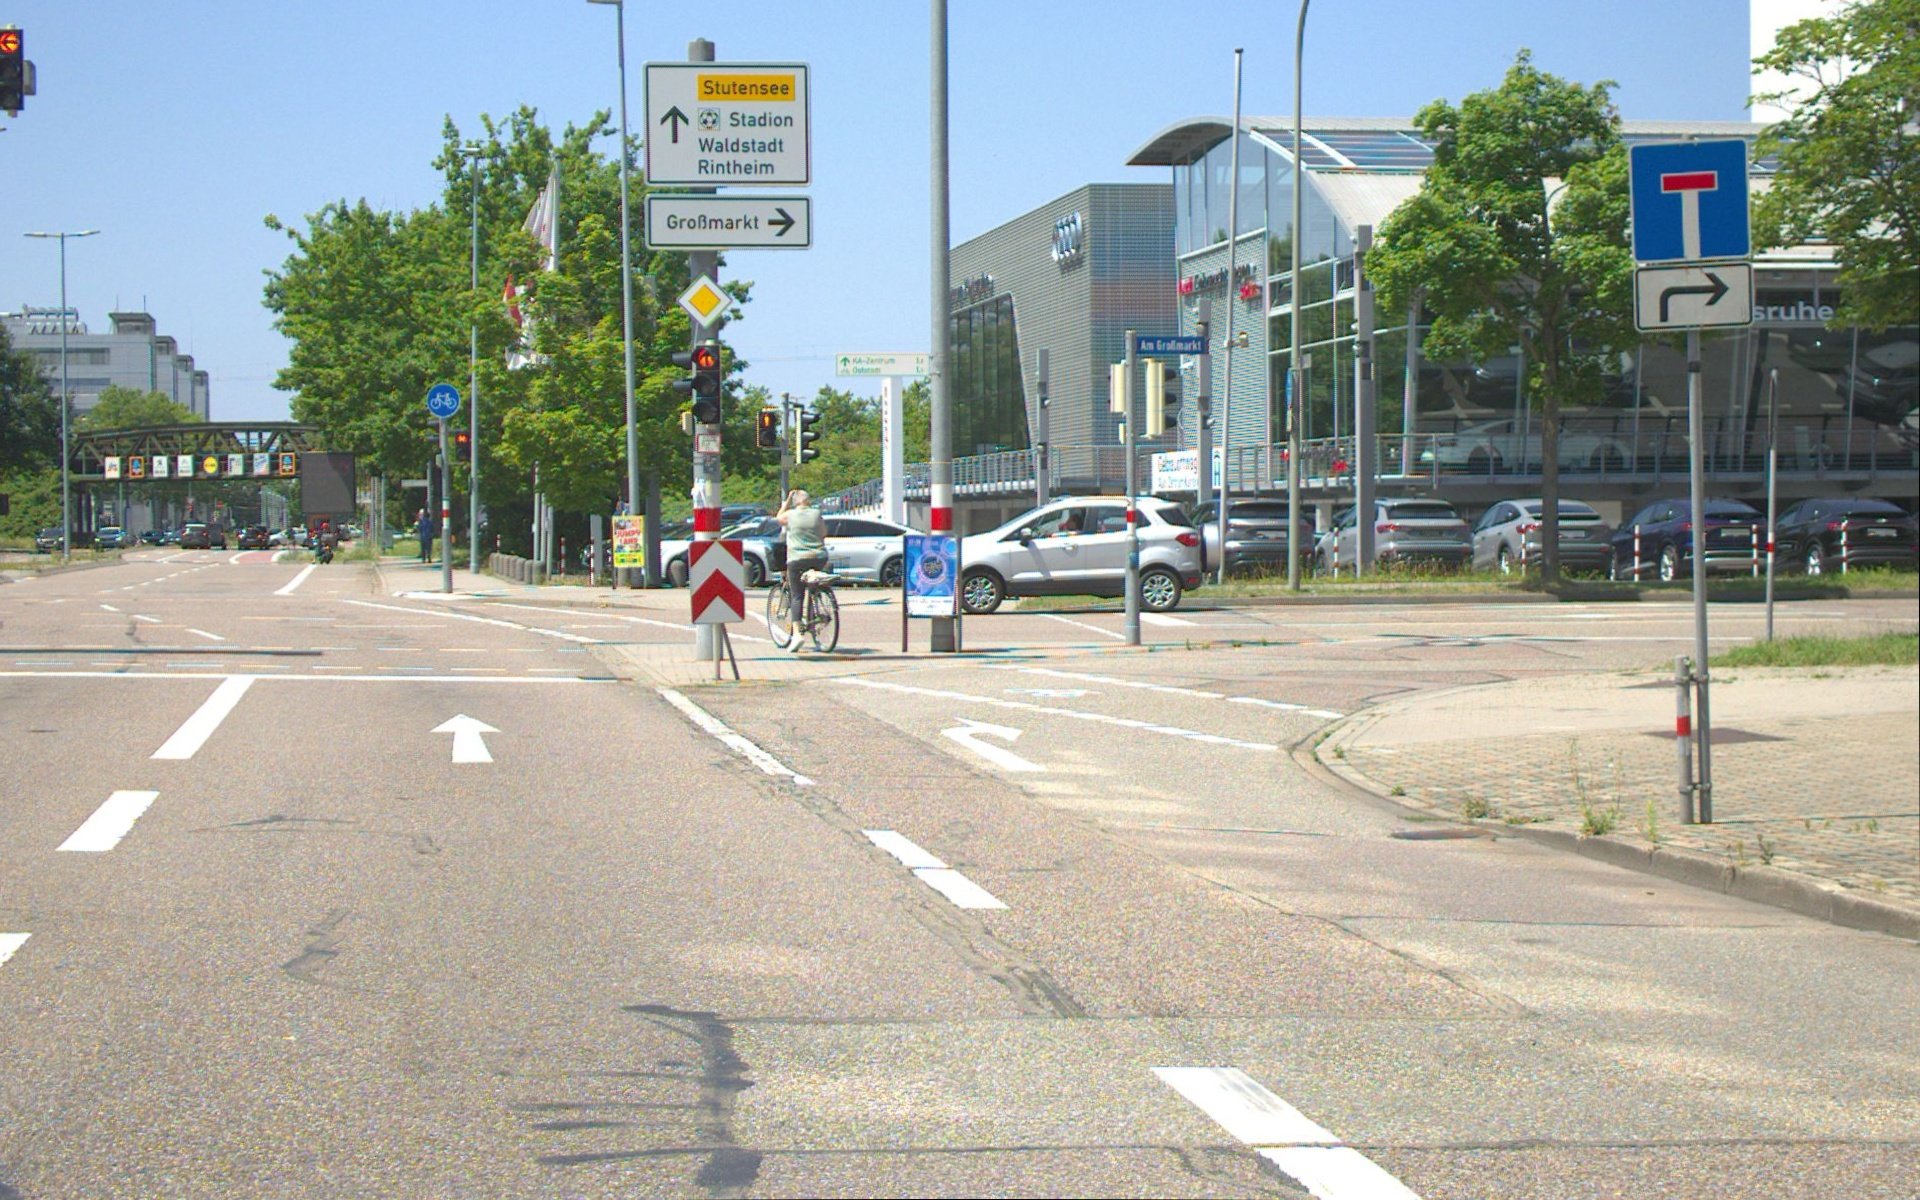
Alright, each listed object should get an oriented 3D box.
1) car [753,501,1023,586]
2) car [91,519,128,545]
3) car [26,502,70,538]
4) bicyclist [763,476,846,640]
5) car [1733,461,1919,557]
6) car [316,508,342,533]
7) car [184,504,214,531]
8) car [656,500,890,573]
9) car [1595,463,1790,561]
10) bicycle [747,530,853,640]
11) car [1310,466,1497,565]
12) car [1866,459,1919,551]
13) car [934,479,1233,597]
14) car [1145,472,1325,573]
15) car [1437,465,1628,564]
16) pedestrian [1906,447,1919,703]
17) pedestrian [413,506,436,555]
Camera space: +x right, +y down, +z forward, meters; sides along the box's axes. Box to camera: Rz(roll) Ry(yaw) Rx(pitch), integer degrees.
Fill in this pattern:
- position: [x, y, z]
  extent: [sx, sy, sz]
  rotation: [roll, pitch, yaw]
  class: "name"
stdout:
- position: [-1.341, -1.055, 62.961]
  extent: [4.740, 1.452, 2.001]
  rotation: [-1, 2, -8]
  class: "car"
- position: [-56.499, -4.533, 228.449]
  extent: [1.926, 1.659, 4.090]
  rotation: [-1, 1, -7]
  class: "car"
- position: [-54.453, -4.748, 205.331]
  extent: [1.993, 2.007, 4.001]
  rotation: [-1, 0, -6]
  class: "car"
- position: [-1.679, -0.455, 37.051]
  extent: [0.733, 1.743, 0.754]
  rotation: [0, 2, -14]
  class: "bicyclist"
- position: [15.622, -1.666, 61.584]
  extent: [1.827, 1.634, 4.476]
  rotation: [-1, 2, -11]
  class: "car"
- position: [-45.172, -5.696, 246.191]
  extent: [1.771, 1.722, 4.001]
  rotation: [-1, 1, -10]
  class: "car"
- position: [-50.649, -5.477, 228.848]
  extent: [1.771, 1.722, 4.001]
  rotation: [-1, 1, -10]
  class: "car"
- position: [-3.999, -1.361, 73.250]
  extent: [4.740, 1.452, 2.001]
  rotation: [-1, 2, -11]
  class: "car"
- position: [12.954, -1.595, 61.051]
  extent: [1.827, 1.634, 4.476]
  rotation: [-1, 2, -10]
  class: "car"
- position: [-1.747, -0.175, 37.254]
  extent: [0.786, 1.123, 1.921]
  rotation: [0, 2, -14]
  class: "bicycle"
- position: [7.703, -1.508, 60.157]
  extent: [1.993, 1.634, 4.443]
  rotation: [-1, 2, -10]
  class: "car"
- position: [18.168, -1.721, 61.973]
  extent: [1.827, 1.634, 4.476]
  rotation: [-1, 2, -10]
  class: "car"
- position: [1.739, -0.897, 49.177]
  extent: [4.195, 1.646, 1.715]
  rotation: [0, 2, 1]
  class: "car"
- position: [4.711, -1.376, 59.554]
  extent: [1.993, 1.634, 4.559]
  rotation: [-1, 2, -10]
  class: "car"
- position: [10.036, -1.541, 60.605]
  extent: [1.885, 1.634, 4.526]
  rotation: [-1, 2, -10]
  class: "car"
- position: [7.411, -0.194, 24.701]
  extent: [0.865, 1.838, 0.773]
  rotation: [-3, 2, -37]
  class: "pedestrian"
- position: [-16.650, -2.165, 106.950]
  extent: [0.667, 1.505, 0.736]
  rotation: [-1, 2, -10]
  class: "pedestrian"
